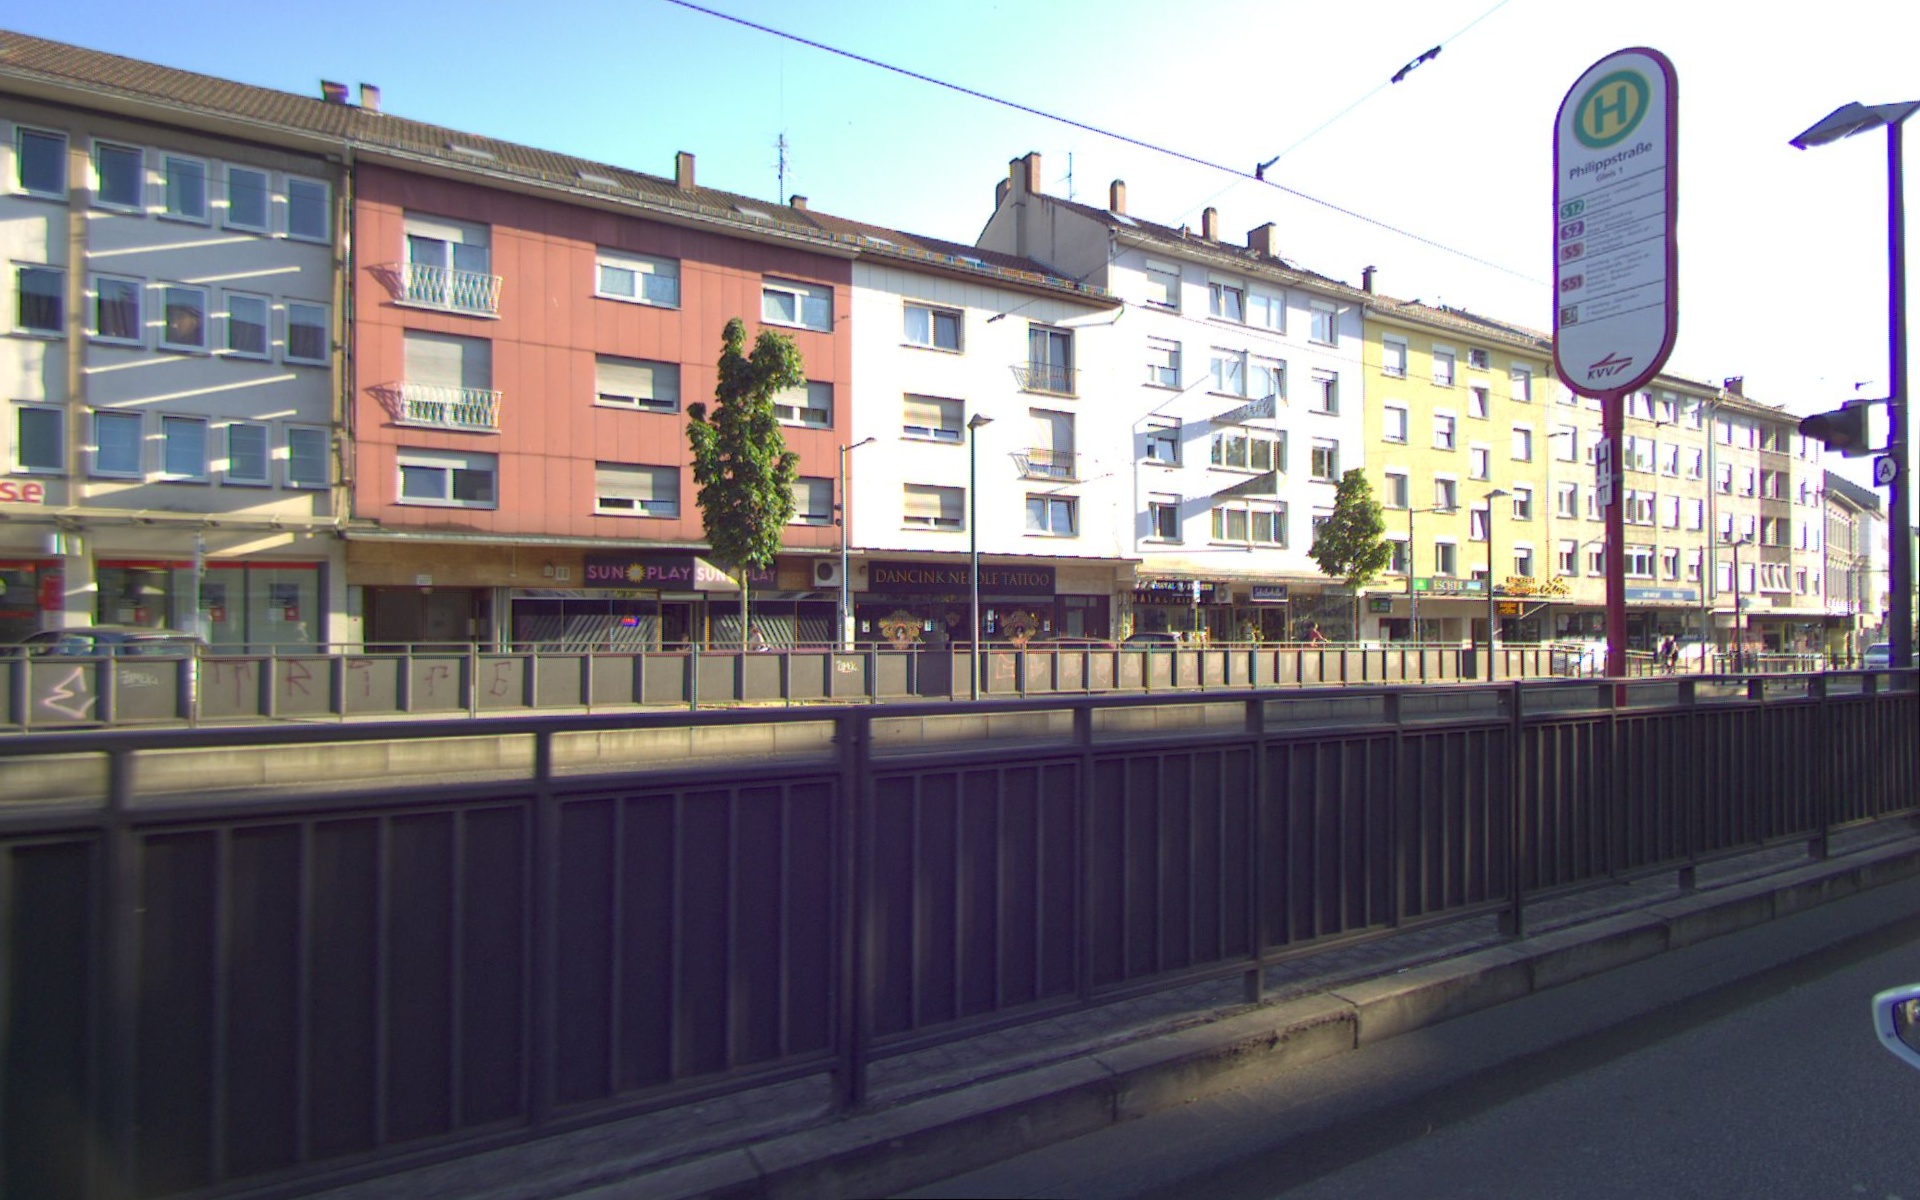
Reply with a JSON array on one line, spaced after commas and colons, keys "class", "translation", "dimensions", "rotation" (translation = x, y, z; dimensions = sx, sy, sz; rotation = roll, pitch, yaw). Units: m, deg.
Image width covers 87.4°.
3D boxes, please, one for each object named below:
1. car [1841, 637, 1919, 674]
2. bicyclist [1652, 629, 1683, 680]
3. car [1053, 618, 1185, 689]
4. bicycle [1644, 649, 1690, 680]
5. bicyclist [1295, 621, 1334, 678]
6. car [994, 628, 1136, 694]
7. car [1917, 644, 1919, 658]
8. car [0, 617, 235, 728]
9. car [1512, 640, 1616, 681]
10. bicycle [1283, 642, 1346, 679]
[{"class": "car", "translation": [46.029, 2.748, 50.117], "dimensions": [4.388, 1.739, 1.982], "rotation": [1, -2, -33]}, {"class": "bicyclist", "translation": [29.277, 2.243, 41.565], "dimensions": [0.901, 2.040, 0.760], "rotation": [1, -2, -32]}, {"class": "car", "translation": [4.685, 1.542, 29.853], "dimensions": [3.693, 1.823, 1.865], "rotation": [2, 1, 8]}, {"class": "bicycle", "translation": [29.281, 2.663, 41.595], "dimensions": [2.253, 1.246, 0.714], "rotation": [1, -2, -32]}, {"class": "bicyclist", "translation": [12.370, 1.720, 35.081], "dimensions": [1.043, 1.912, 0.690], "rotation": [3, 0, -25]}, {"class": "car", "translation": [2.885, 1.632, 27.517], "dimensions": [3.693, 1.511, 1.865], "rotation": [3, 1, 8]}, {"class": "car", "translation": [96.683, 5.017, 97.967], "dimensions": [4.460, 1.431, 2.001], "rotation": [0, -2, 16]}, {"class": "car", "translation": [-14.642, 1.146, 16.902], "dimensions": [3.919, 1.550, 1.871], "rotation": [2, 0, 15]}, {"class": "car", "translation": [24.805, 2.453, 41.201], "dimensions": [4.365, 1.498, 1.981], "rotation": [2, 0, -34]}, {"class": "bicycle", "translation": [12.396, 2.109, 35.087], "dimensions": [2.169, 1.174, 0.703], "rotation": [4, 0, -26]}]
